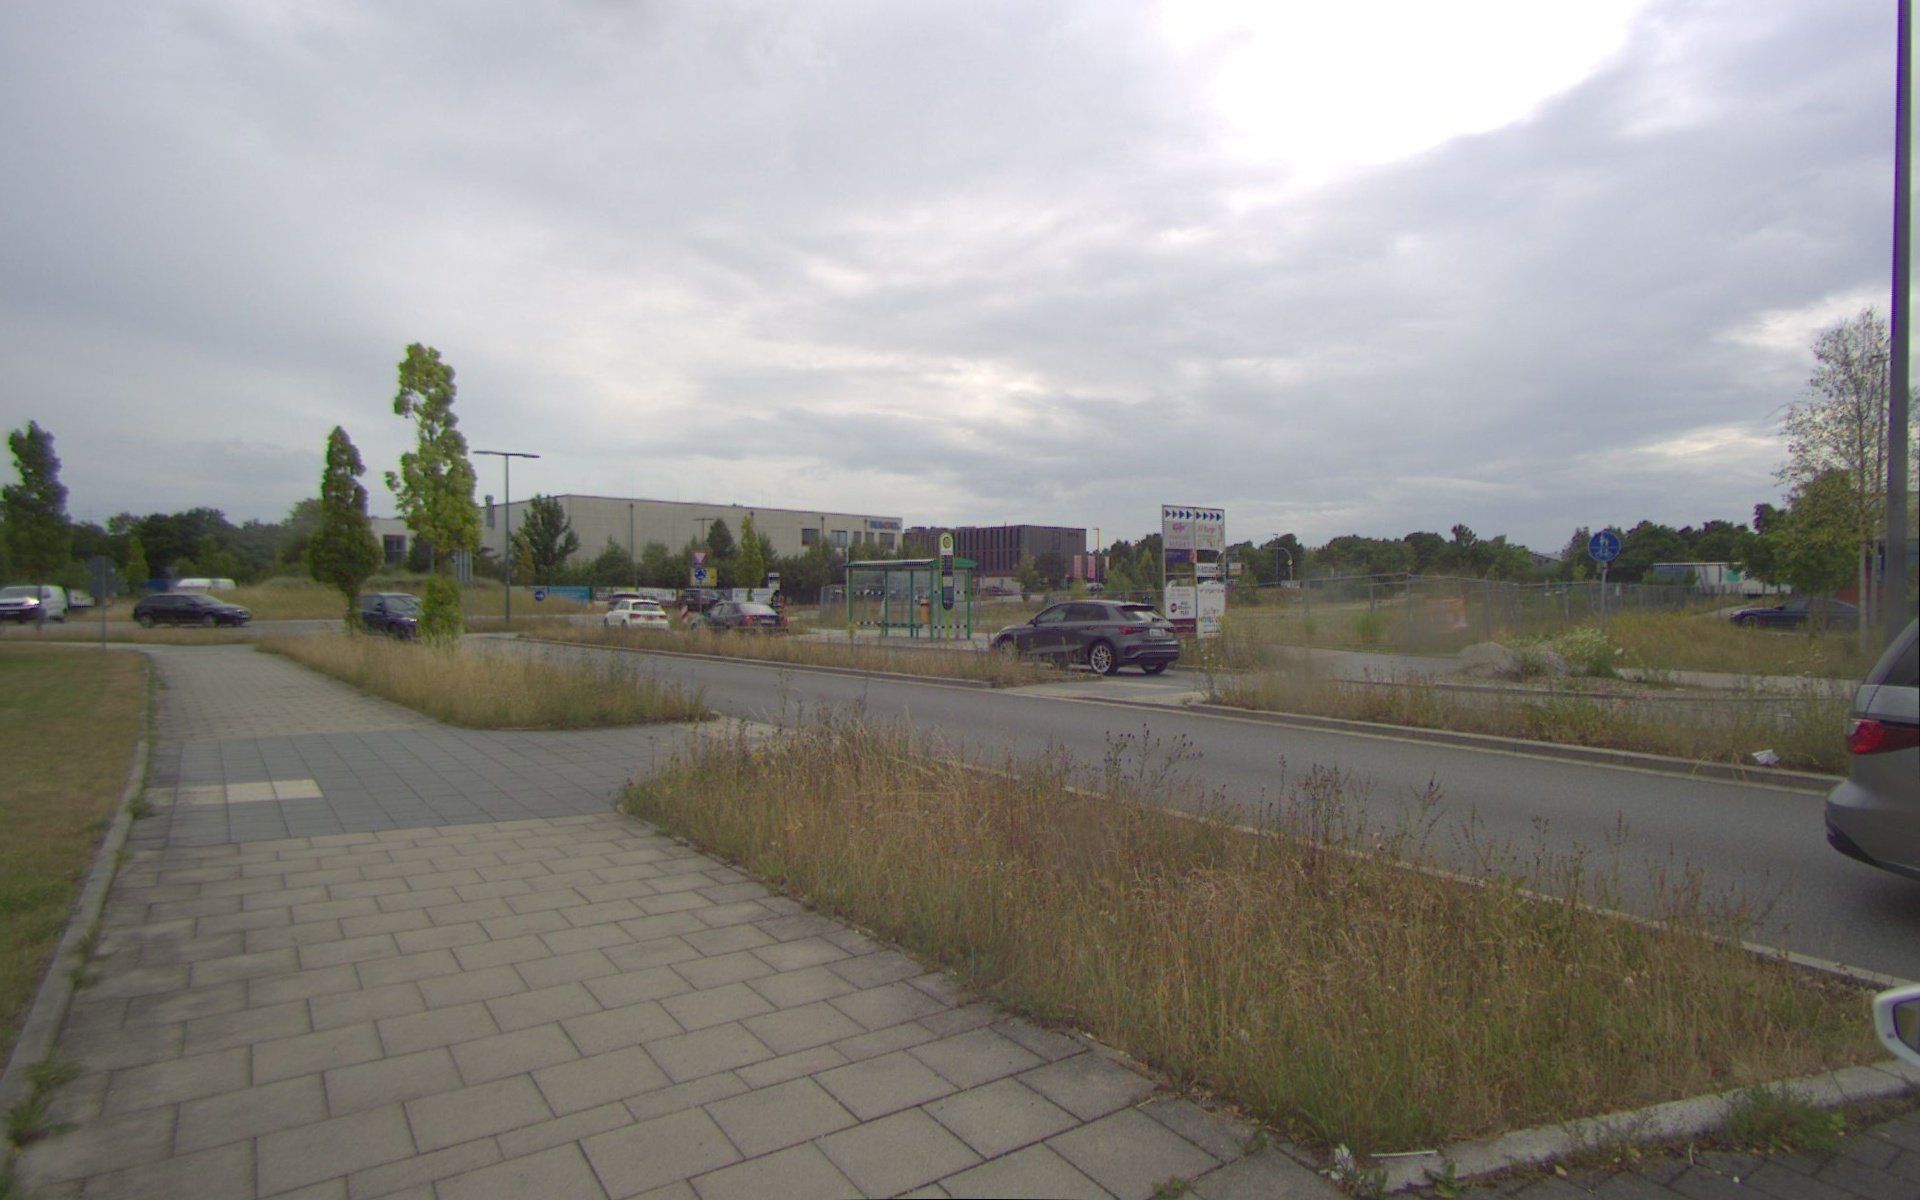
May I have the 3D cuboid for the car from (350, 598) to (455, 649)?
[{"bbox_3d":[-19.558,0.770,35.192,3.938,1.662,1.887,1,1,38],"label":"car"}]

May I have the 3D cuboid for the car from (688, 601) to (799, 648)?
[{"bbox_3d":[-7.200,0.767,33.163,1.777,1.414,4.319,1,0,-40],"label":"car"}]

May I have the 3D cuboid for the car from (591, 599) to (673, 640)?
[{"bbox_3d":[-13.127,0.735,40.061,1.744,1.500,4.008,0,1,-40],"label":"car"}]

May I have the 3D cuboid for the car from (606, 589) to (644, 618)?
[{"bbox_3d":[-16.393,0.144,49.307,1.691,1.361,4.048,0,1,-18],"label":"car"}]

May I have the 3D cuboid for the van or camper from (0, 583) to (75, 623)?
[{"bbox_3d":[-46.648,0.144,50.458,1.957,1.916,4.811,-1,1,-25],"label":"van or camper"}]

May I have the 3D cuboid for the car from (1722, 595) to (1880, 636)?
[{"bbox_3d":[35.916,0.627,43.015,1.984,1.578,4.963,0,1,-41],"label":"car"}]

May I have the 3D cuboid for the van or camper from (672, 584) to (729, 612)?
[{"bbox_3d":[-17.180,-0.142,66.820,1.959,1.772,4.574,1,1,10],"label":"van or camper"}]

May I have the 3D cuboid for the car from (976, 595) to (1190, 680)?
[{"bbox_3d":[2.396,0.678,20.498,1.783,1.486,4.268,-1,2,-41],"label":"car"}]

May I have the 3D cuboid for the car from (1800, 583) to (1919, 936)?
[{"bbox_3d":[6.070,0.730,3.625,1.802,1.584,4.359,-2,2,-34],"label":"car"}]

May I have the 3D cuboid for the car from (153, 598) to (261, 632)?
[{"bbox_3d":[-31.408,0.606,42.002,3.238,1.372,1.555,0,1,-15],"label":"car"}]

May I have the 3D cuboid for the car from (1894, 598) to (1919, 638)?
[{"bbox_3d":[35.106,0.671,34.695,1.983,1.370,3.954,0,1,-39],"label":"car"}]

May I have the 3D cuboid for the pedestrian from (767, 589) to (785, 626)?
[{"bbox_3d":[-8.925,0.350,48.745,0.729,1.745,0.650,1,1,-4],"label":"pedestrian"}]

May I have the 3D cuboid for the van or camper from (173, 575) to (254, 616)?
[{"bbox_3d":[-50.391,-0.350,67.959,1.963,2.617,5.459,1,1,-7],"label":"van or camper"}]
